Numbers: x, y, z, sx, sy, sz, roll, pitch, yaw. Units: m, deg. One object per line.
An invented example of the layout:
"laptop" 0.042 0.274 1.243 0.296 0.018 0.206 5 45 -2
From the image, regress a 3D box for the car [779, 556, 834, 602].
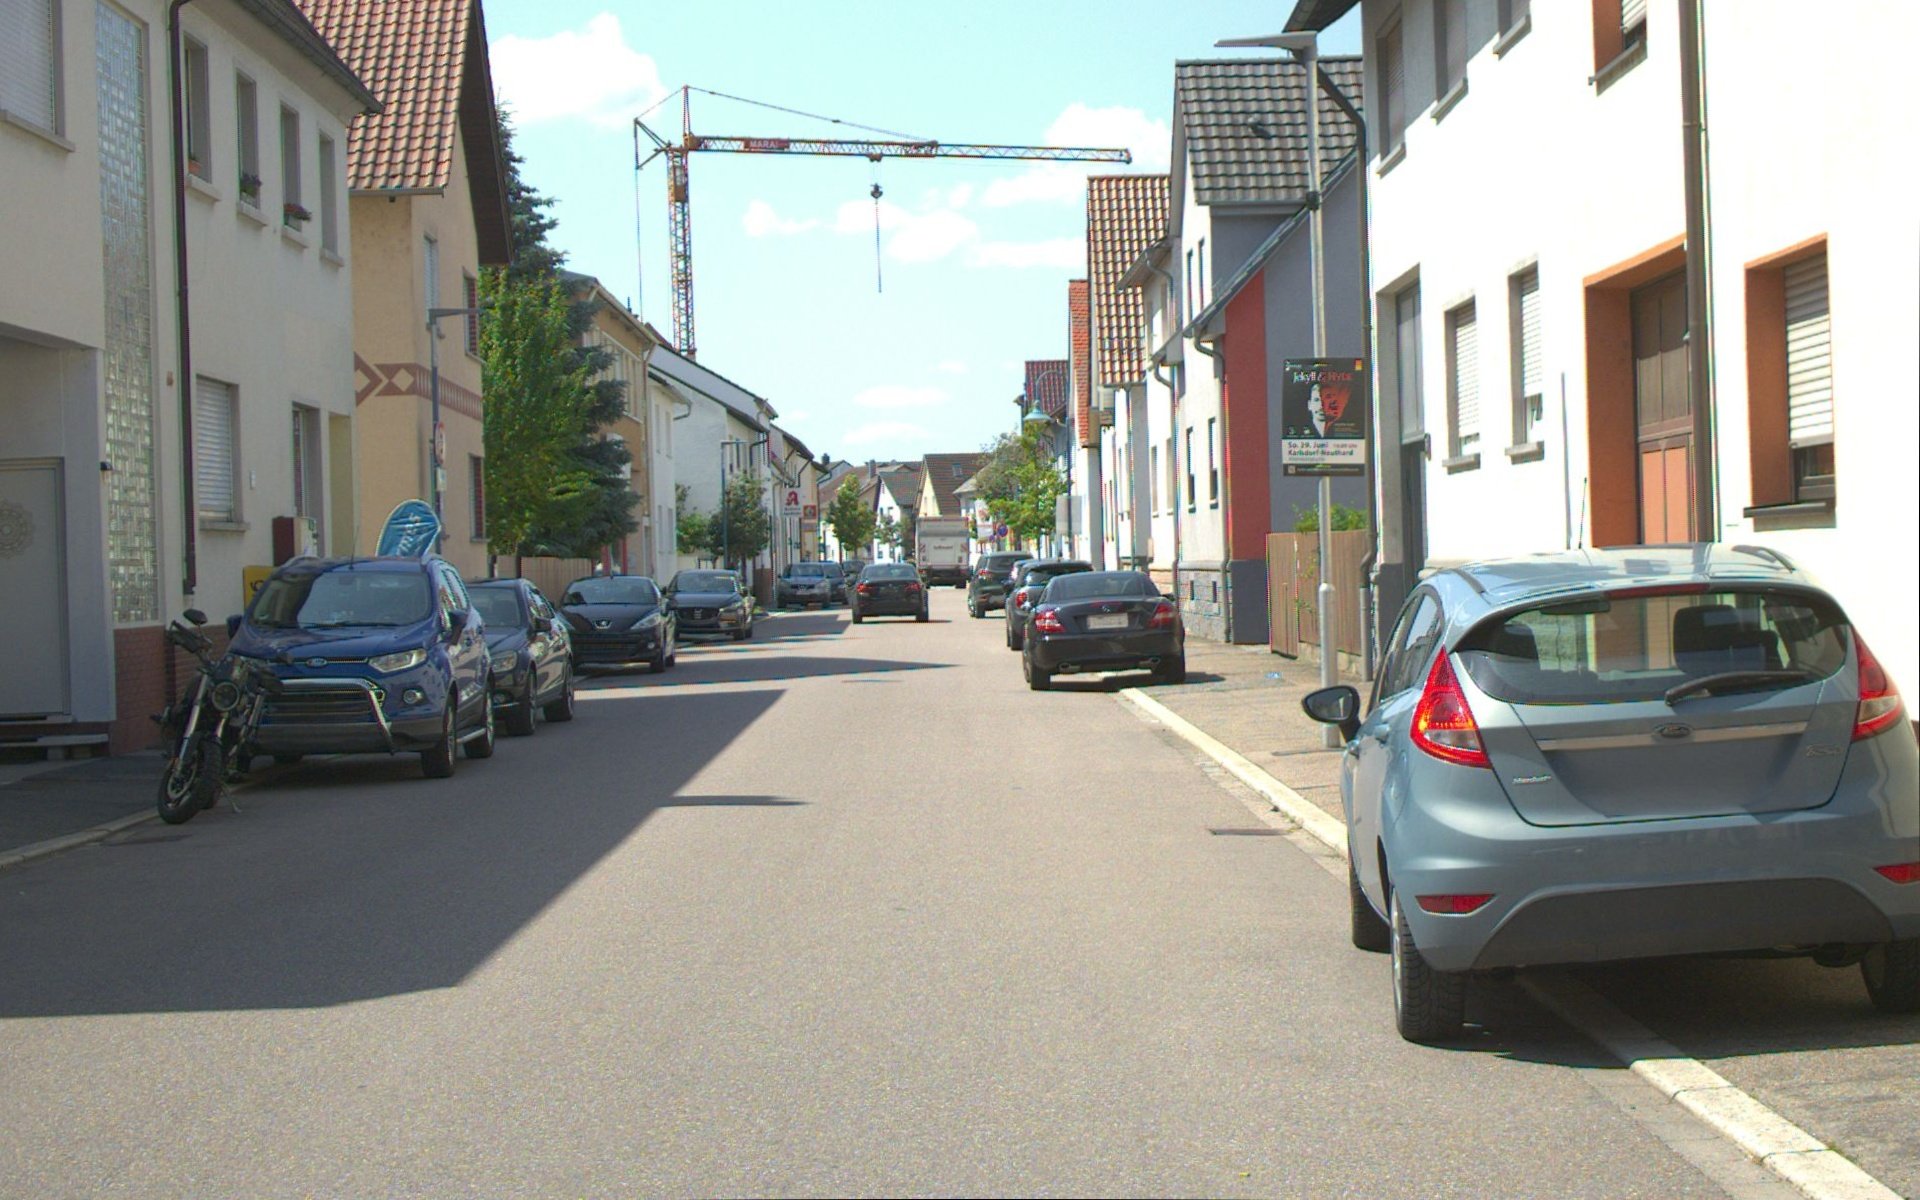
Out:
"car" -5.388 -0.755 121.128 1.758 1.519 4.289 -2 1 -1

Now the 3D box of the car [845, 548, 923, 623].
"car" -1.871 -0.360 84.593 1.782 1.747 4.000 -3 0 -1

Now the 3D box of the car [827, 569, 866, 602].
"car" -5.529 -0.735 167.251 1.723 1.550 4.172 0 1 0

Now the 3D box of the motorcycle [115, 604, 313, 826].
"motorcycle" -4.742 0.702 22.009 0.808 1.308 2.106 -1 1 -1

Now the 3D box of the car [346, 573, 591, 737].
"car" -4.622 0.474 32.871 1.697 1.407 4.390 -1 1 0

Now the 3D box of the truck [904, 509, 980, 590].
"truck" -1.013 -2.531 176.347 3.378 3.852 13.927 -3 0 -2

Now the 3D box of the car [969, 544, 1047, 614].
"car" 1.224 -0.562 89.139 1.728 1.711 4.276 -2 1 -2

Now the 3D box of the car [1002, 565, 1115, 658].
"car" 1.592 0.164 56.763 1.688 1.417 3.657 -2 1 0

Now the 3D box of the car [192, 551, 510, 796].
"car" -4.561 0.491 26.310 1.717 1.634 4.149 -3 1 -2

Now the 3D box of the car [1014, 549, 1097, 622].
"car" 2.120 -0.343 77.101 1.617 1.490 3.972 -4 1 -1

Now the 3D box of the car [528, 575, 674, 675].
"car" -5.240 0.340 50.595 1.761 1.369 4.066 -1 1 -1

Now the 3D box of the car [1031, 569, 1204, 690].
"car" 1.783 0.307 40.107 1.815 1.271 4.147 -1 1 0

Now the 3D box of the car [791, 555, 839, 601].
"car" -5.380 -0.832 127.953 1.653 1.603 4.061 -2 1 -1

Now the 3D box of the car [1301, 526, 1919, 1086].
"car" 2.155 0.563 11.714 1.722 1.476 3.749 -5 1 4

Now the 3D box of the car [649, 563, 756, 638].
"car" -5.328 -0.007 71.631 1.768 1.455 4.436 -1 1 1
